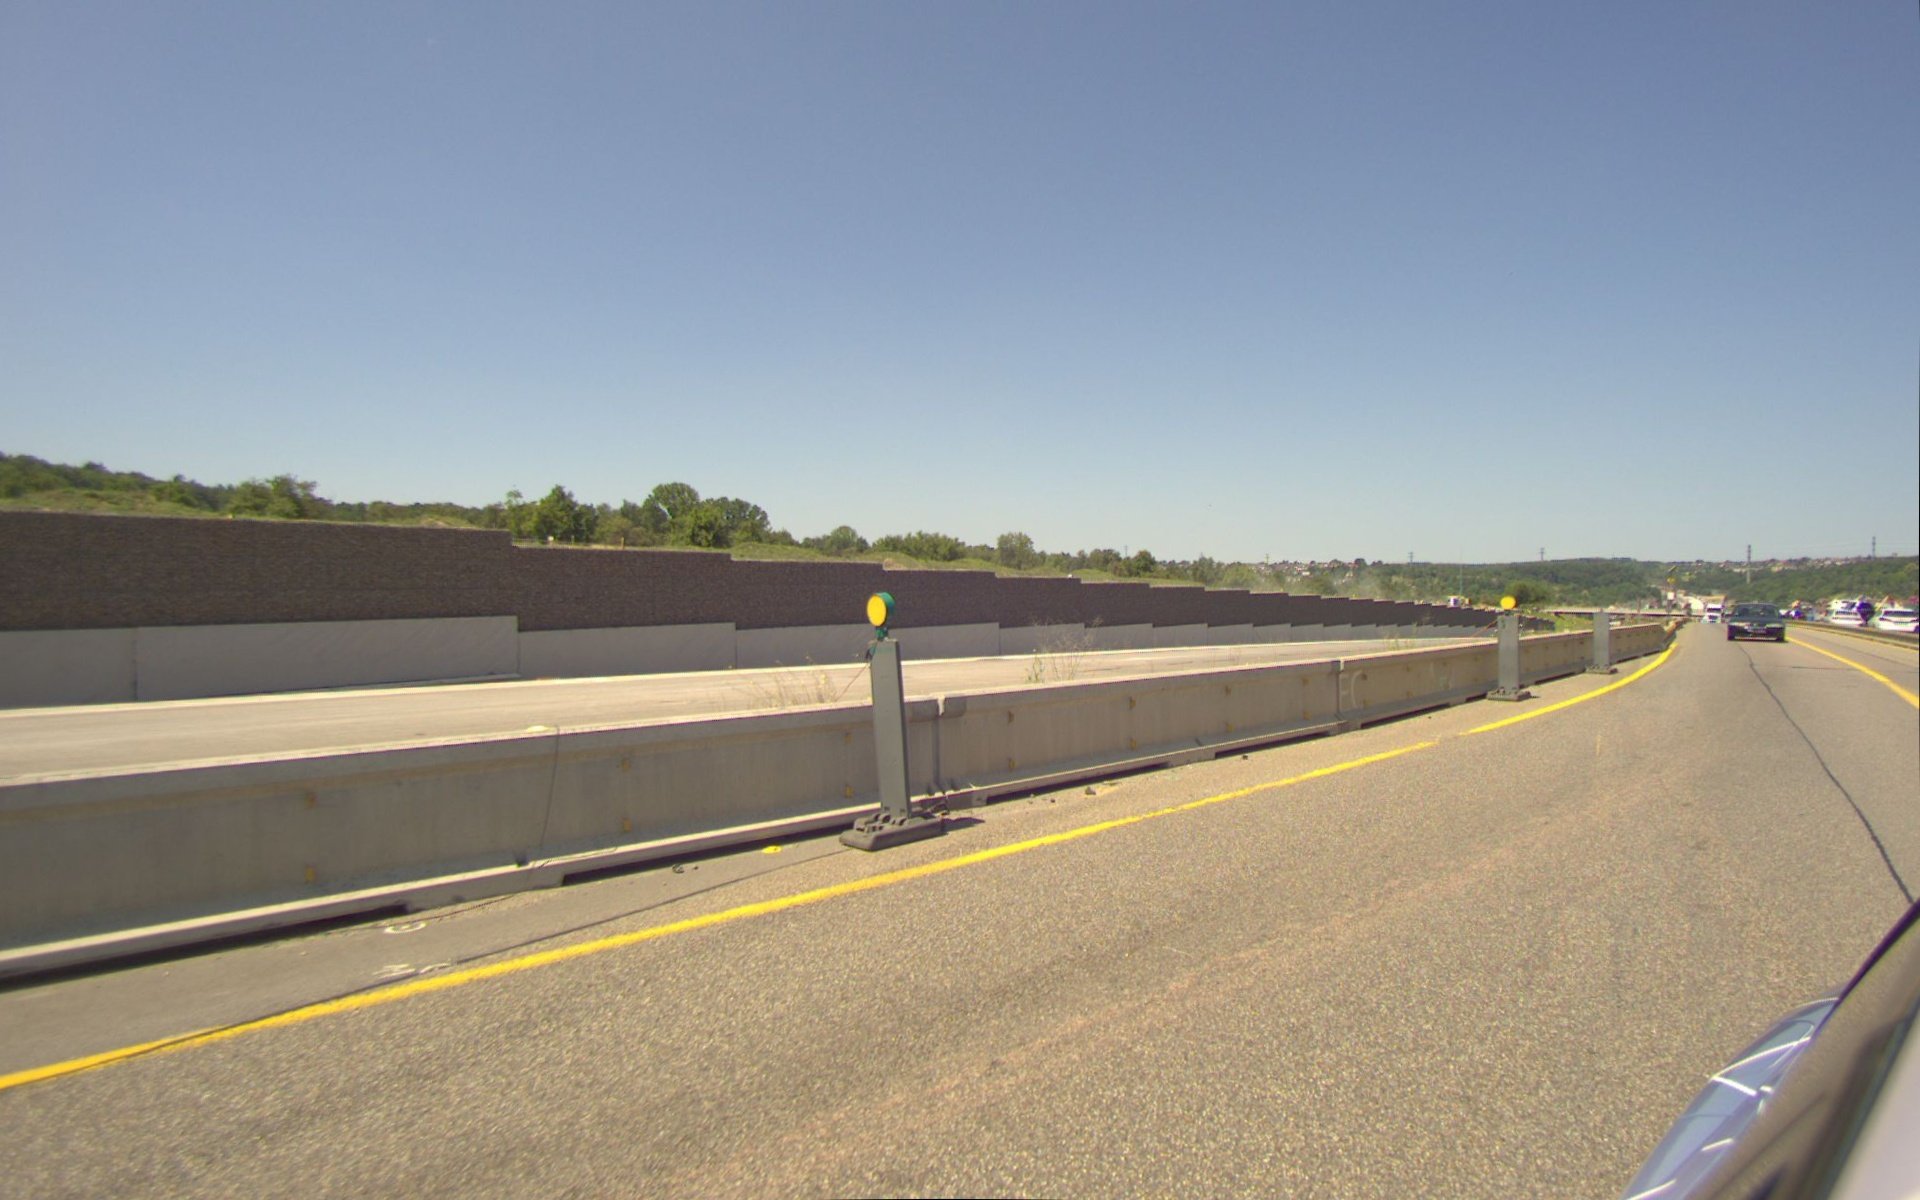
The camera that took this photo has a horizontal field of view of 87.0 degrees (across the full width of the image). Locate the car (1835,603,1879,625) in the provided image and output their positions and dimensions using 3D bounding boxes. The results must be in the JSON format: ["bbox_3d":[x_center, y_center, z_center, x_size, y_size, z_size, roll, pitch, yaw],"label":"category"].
[{"bbox_3d":[60.927,0.949,68.795,1.811,1.394,4.191,-2,-2,36],"label":"car"}]

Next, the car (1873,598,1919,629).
[{"bbox_3d":[47.473,0.668,50.978,1.729,1.497,4.459,-2,-2,37],"label":"car"}]

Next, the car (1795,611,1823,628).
[{"bbox_3d":[86.000,1.982,102.561,1.900,1.629,3.946,2,0,37],"label":"car"}]

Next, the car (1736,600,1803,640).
[{"bbox_3d":[29.954,0.759,37.544,1.802,1.323,3.945,3,1,38],"label":"car"}]

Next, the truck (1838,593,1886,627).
[{"bbox_3d":[81.666,0.866,91.769,2.474,2.859,8.019,2,1,37],"label":"truck"}]

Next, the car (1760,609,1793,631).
[{"bbox_3d":[64.760,1.566,80.314,1.808,1.683,3.947,-2,-2,36],"label":"car"}]

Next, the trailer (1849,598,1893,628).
[{"bbox_3d":[77.649,1.093,86.336,2.177,2.343,5.538,2,1,37],"label":"trailer"}]

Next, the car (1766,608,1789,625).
[{"bbox_3d":[97.957,1.994,121.299,1.849,1.863,4.530,3,0,36],"label":"car"}]

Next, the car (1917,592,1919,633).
[{"bbox_3d":[57.218,0.721,58.482,1.908,2.430,6.367,-2,-2,36],"label":"car"}]
